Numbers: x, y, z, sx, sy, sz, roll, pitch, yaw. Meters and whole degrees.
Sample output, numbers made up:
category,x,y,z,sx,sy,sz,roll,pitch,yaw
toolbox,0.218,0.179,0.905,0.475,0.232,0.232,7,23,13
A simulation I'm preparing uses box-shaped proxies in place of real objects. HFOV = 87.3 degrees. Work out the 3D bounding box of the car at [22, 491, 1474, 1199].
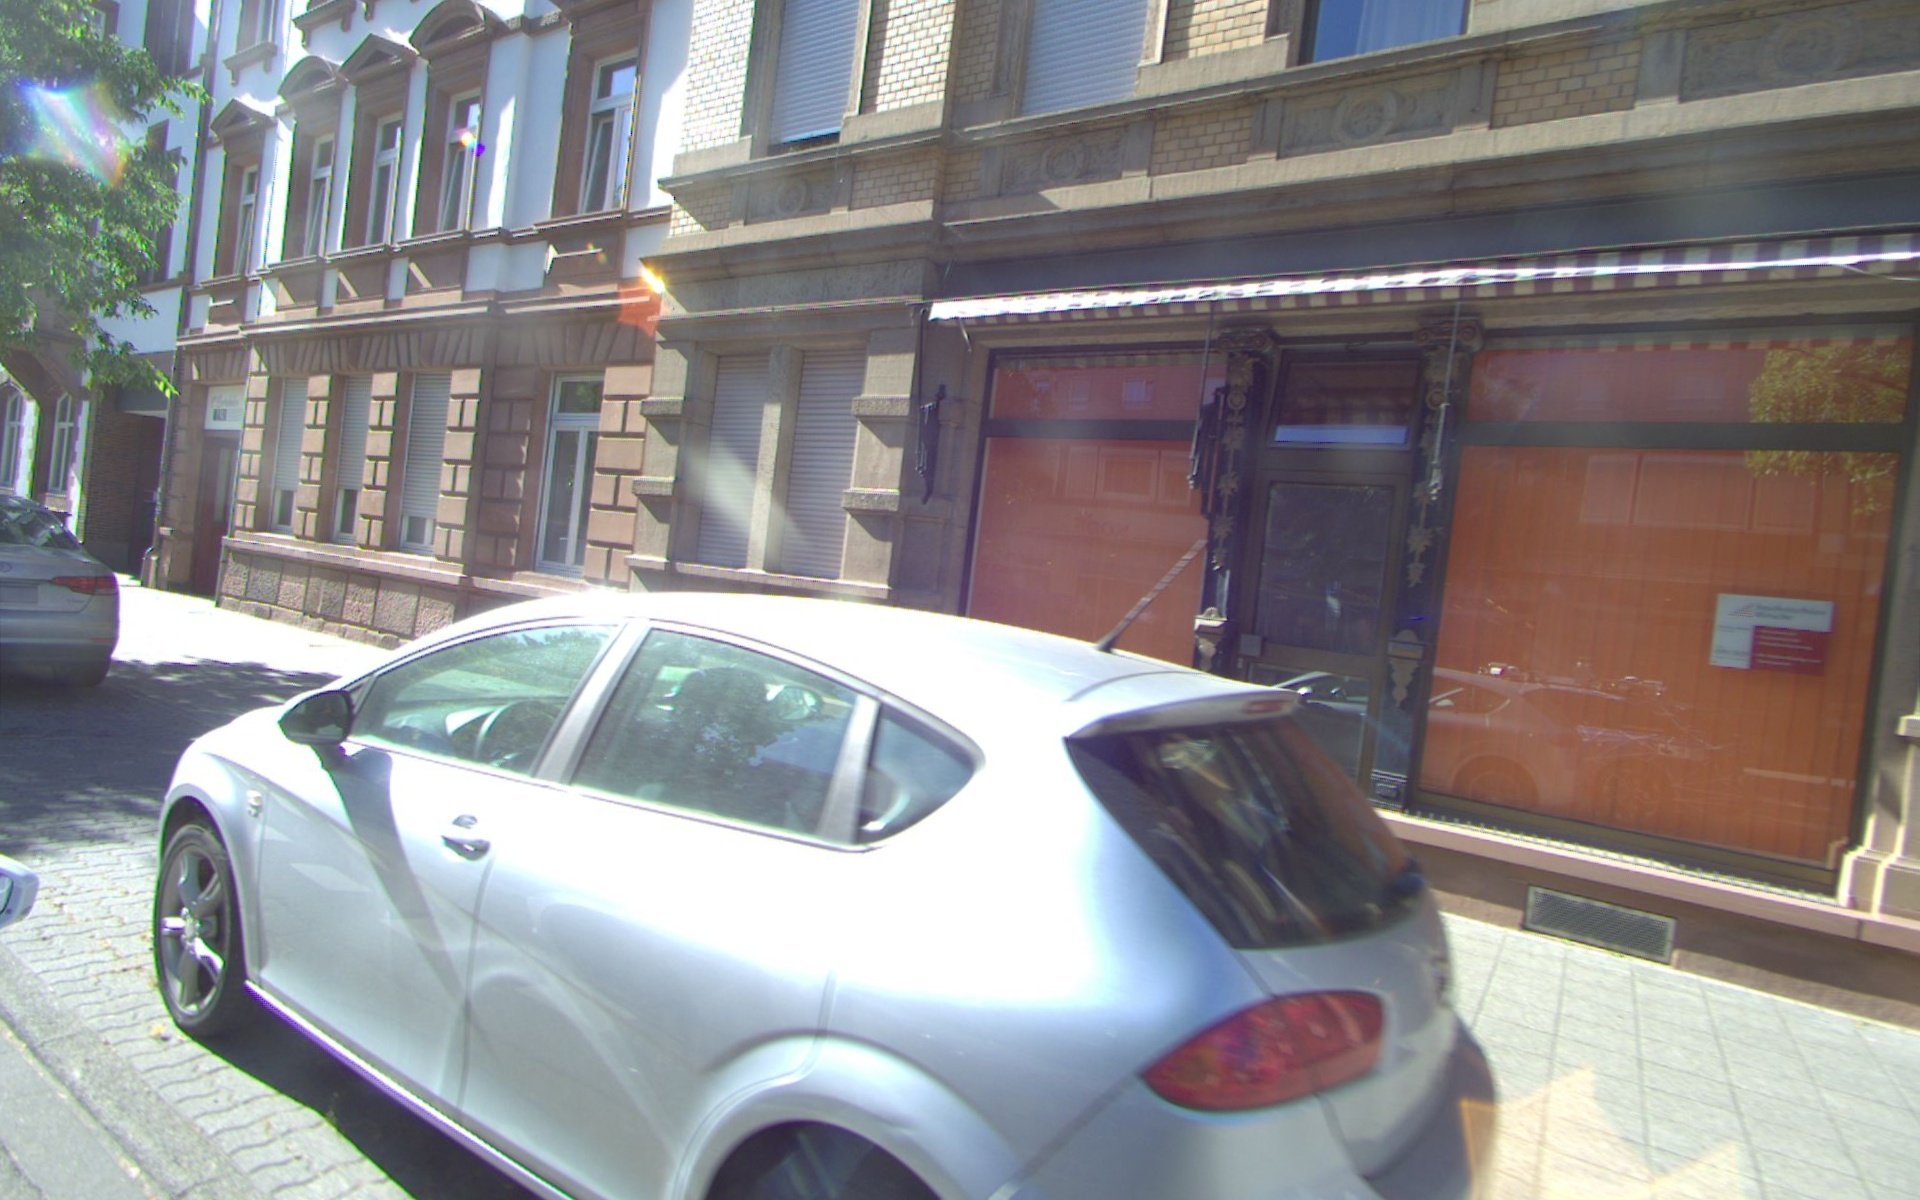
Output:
category,x,y,z,sx,sy,sz,roll,pitch,yaw
car,-0.864,0.646,2.928,3.935,1.469,1.740,7,0,33

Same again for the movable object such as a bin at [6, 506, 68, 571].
category,x,y,z,sx,sy,sz,roll,pitch,yaw
movable object such as a bin,-17.171,-1.140,18.725,0.629,1.082,0.638,7,1,33

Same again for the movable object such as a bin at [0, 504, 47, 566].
category,x,y,z,sx,sy,sz,roll,pitch,yaw
movable object such as a bin,-18.122,-1.253,19.337,0.622,1.082,0.638,7,1,33

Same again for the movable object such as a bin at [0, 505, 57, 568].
category,x,y,z,sx,sy,sz,roll,pitch,yaw
movable object such as a bin,-17.635,-1.193,19.021,0.513,1.082,0.638,7,1,33

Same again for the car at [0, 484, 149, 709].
category,x,y,z,sx,sy,sz,roll,pitch,yaw
car,-8.170,-0.225,7.729,4.237,1.470,1.738,7,2,33
